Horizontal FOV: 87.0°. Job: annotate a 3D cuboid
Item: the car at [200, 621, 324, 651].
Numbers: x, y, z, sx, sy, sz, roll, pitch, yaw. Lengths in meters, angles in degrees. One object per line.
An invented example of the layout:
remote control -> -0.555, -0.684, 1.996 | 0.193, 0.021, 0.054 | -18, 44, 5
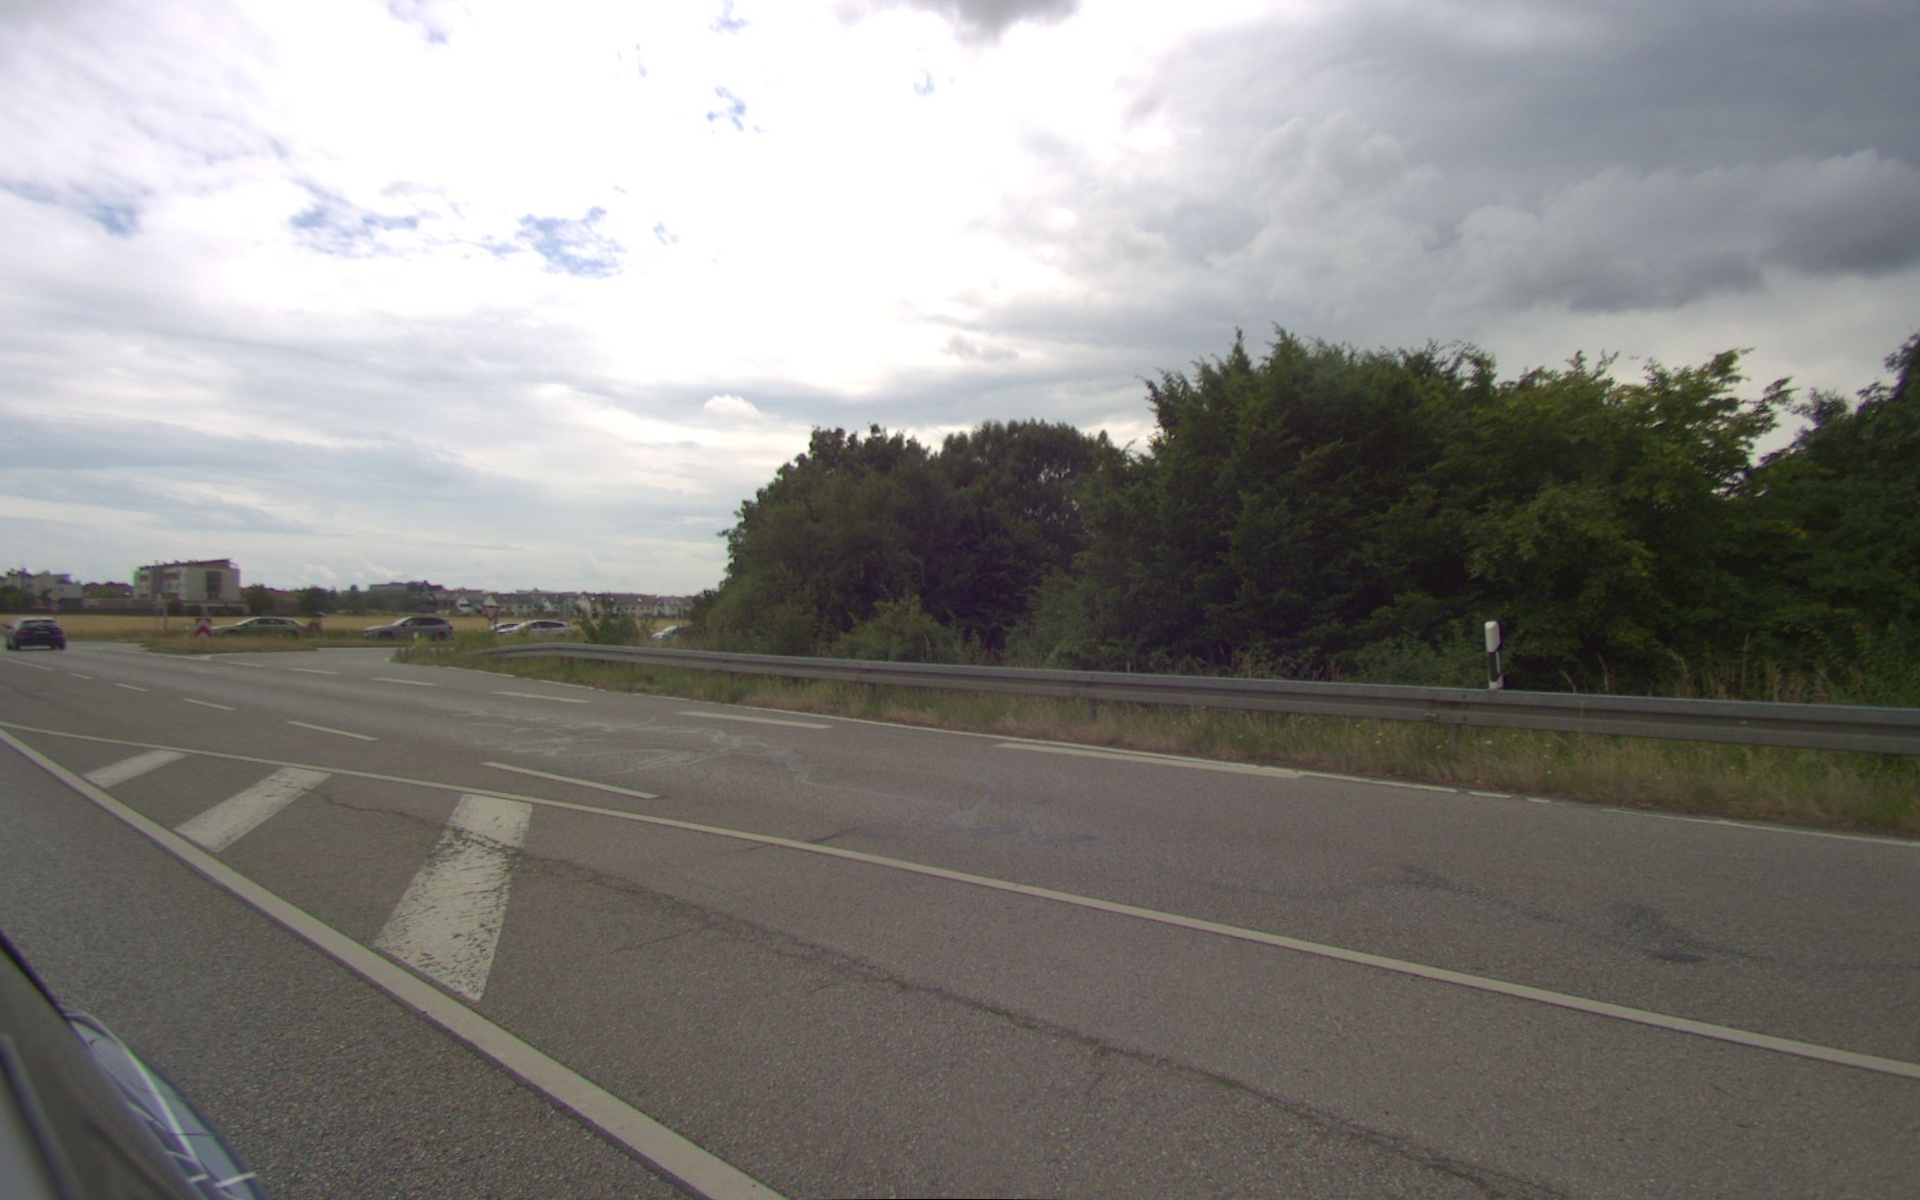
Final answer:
car -> -37.377, 1.907, 54.280 | 5.221, 1.533, 1.913 | 2, -2, -43

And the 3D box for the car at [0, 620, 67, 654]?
car -> -40.495, 1.568, 44.216 | 4.000, 1.387, 1.842 | -1, -1, 43

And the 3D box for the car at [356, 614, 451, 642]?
car -> -32.425, 1.629, 59.042 | 4.568, 1.528, 1.913 | 2, -2, -43

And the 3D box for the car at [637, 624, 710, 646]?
car -> -19.802, 2.407, 70.049 | 4.437, 1.493, 1.913 | 2, -2, -43

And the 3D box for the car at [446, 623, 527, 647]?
car -> -30.127, 2.222, 64.466 | 4.344, 1.493, 1.913 | 2, -2, -43

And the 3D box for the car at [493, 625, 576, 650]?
car -> -26.713, 2.348, 63.625 | 4.437, 1.493, 1.913 | 2, -2, -43
